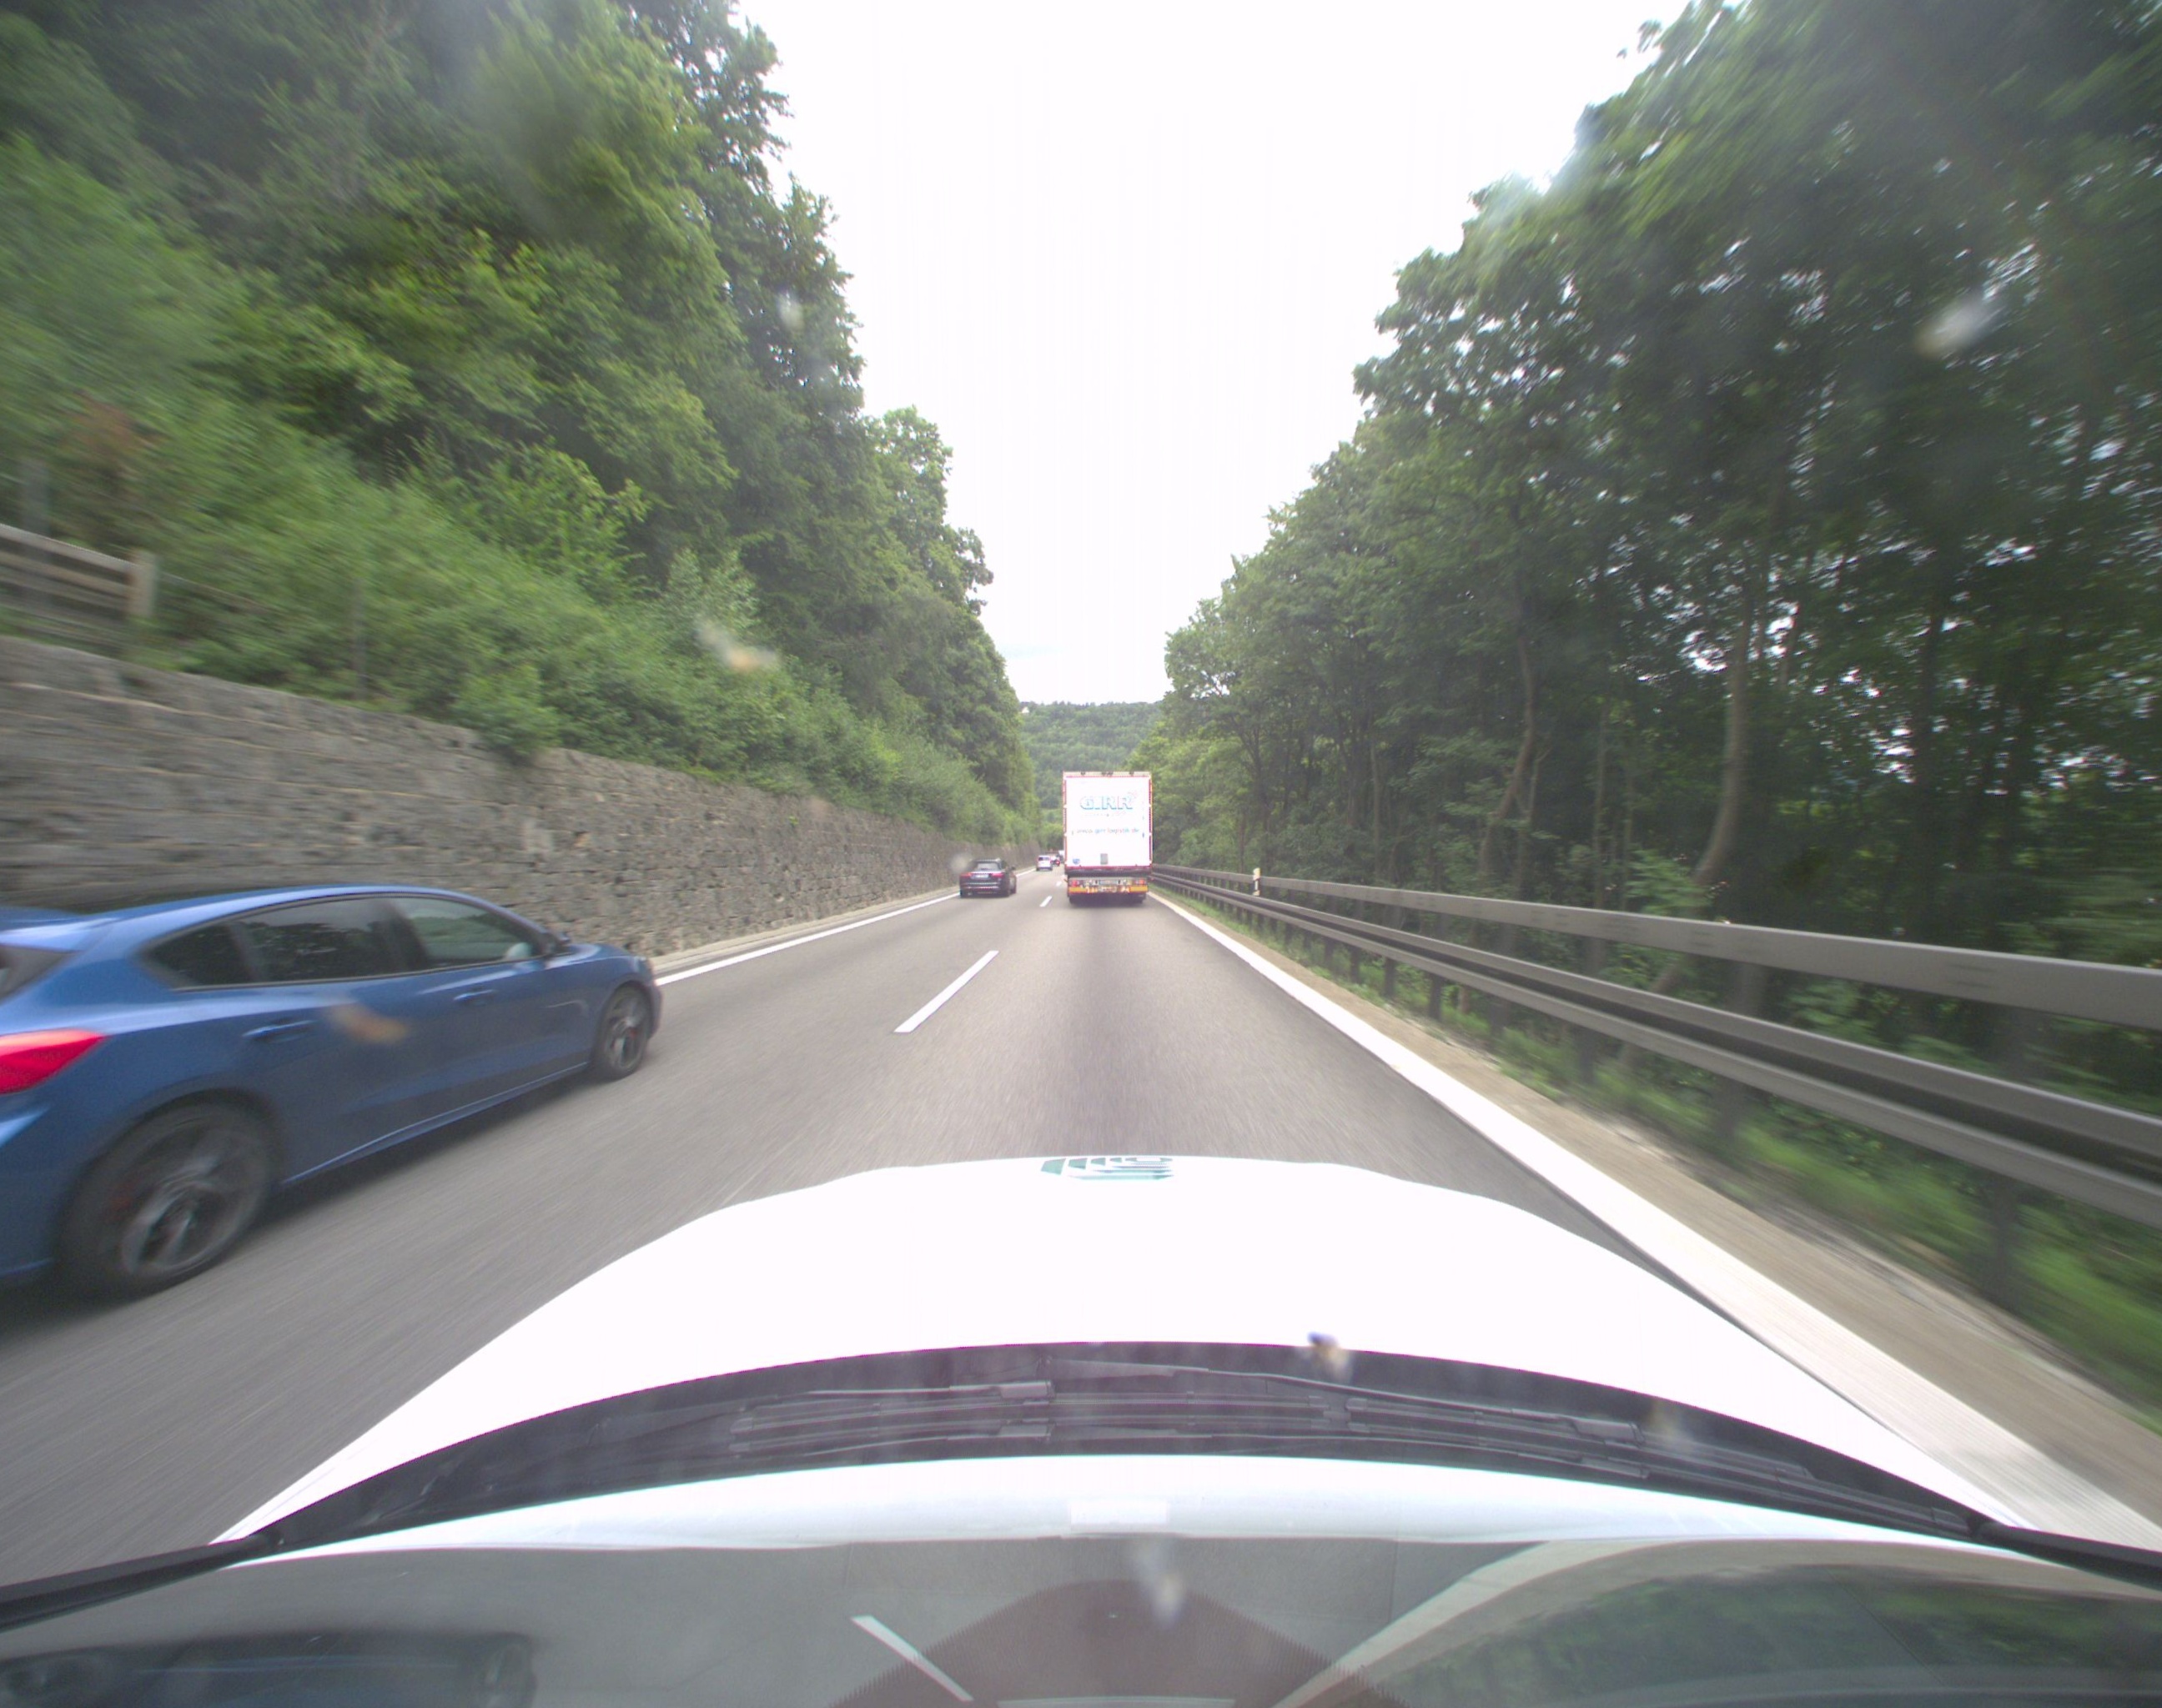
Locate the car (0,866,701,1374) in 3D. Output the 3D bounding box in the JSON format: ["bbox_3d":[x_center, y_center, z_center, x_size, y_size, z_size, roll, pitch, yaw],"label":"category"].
[{"bbox_3d":[-4.034,0.814,4.265,1.829,1.469,4.557,0,-1,2],"label":"car"}]

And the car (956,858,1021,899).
[{"bbox_3d":[-3.546,0.902,32.108,1.754,1.463,5.125,0,0,2],"label":"car"}]

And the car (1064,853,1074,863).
[{"bbox_3d":[-2.610,0.789,172.002,1.988,2.014,3.997,2,-1,-2],"label":"car"}]

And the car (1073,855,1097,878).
[{"bbox_3d":[0.309,1.192,78.437,1.989,2.014,4.327,2,-1,-4],"label":"car"}]

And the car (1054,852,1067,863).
[{"bbox_3d":[-3.714,0.700,149.157,2.011,1.914,5.565,2,0,1],"label":"car"}]

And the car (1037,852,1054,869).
[{"bbox_3d":[-3.737,0.697,85.850,1.629,1.726,4.343,0,0,0],"label":"car"}]

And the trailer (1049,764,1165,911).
[{"bbox_3d":[0.749,-0.480,27.968,3.123,4.042,9.438,3,0,0],"label":"trailer"}]

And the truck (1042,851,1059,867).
[{"bbox_3d":[-4.416,0.765,120.163,2.342,2.274,6.845,2,0,-1],"label":"truck"}]

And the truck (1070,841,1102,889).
[{"bbox_3d":[0.354,0.902,67.666,2.228,3.804,6.816,2,-1,-2],"label":"truck"}]

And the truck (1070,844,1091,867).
[{"bbox_3d":[-0.073,0.285,140.946,3.062,3.877,8.448,2,-1,-3],"label":"truck"}]
